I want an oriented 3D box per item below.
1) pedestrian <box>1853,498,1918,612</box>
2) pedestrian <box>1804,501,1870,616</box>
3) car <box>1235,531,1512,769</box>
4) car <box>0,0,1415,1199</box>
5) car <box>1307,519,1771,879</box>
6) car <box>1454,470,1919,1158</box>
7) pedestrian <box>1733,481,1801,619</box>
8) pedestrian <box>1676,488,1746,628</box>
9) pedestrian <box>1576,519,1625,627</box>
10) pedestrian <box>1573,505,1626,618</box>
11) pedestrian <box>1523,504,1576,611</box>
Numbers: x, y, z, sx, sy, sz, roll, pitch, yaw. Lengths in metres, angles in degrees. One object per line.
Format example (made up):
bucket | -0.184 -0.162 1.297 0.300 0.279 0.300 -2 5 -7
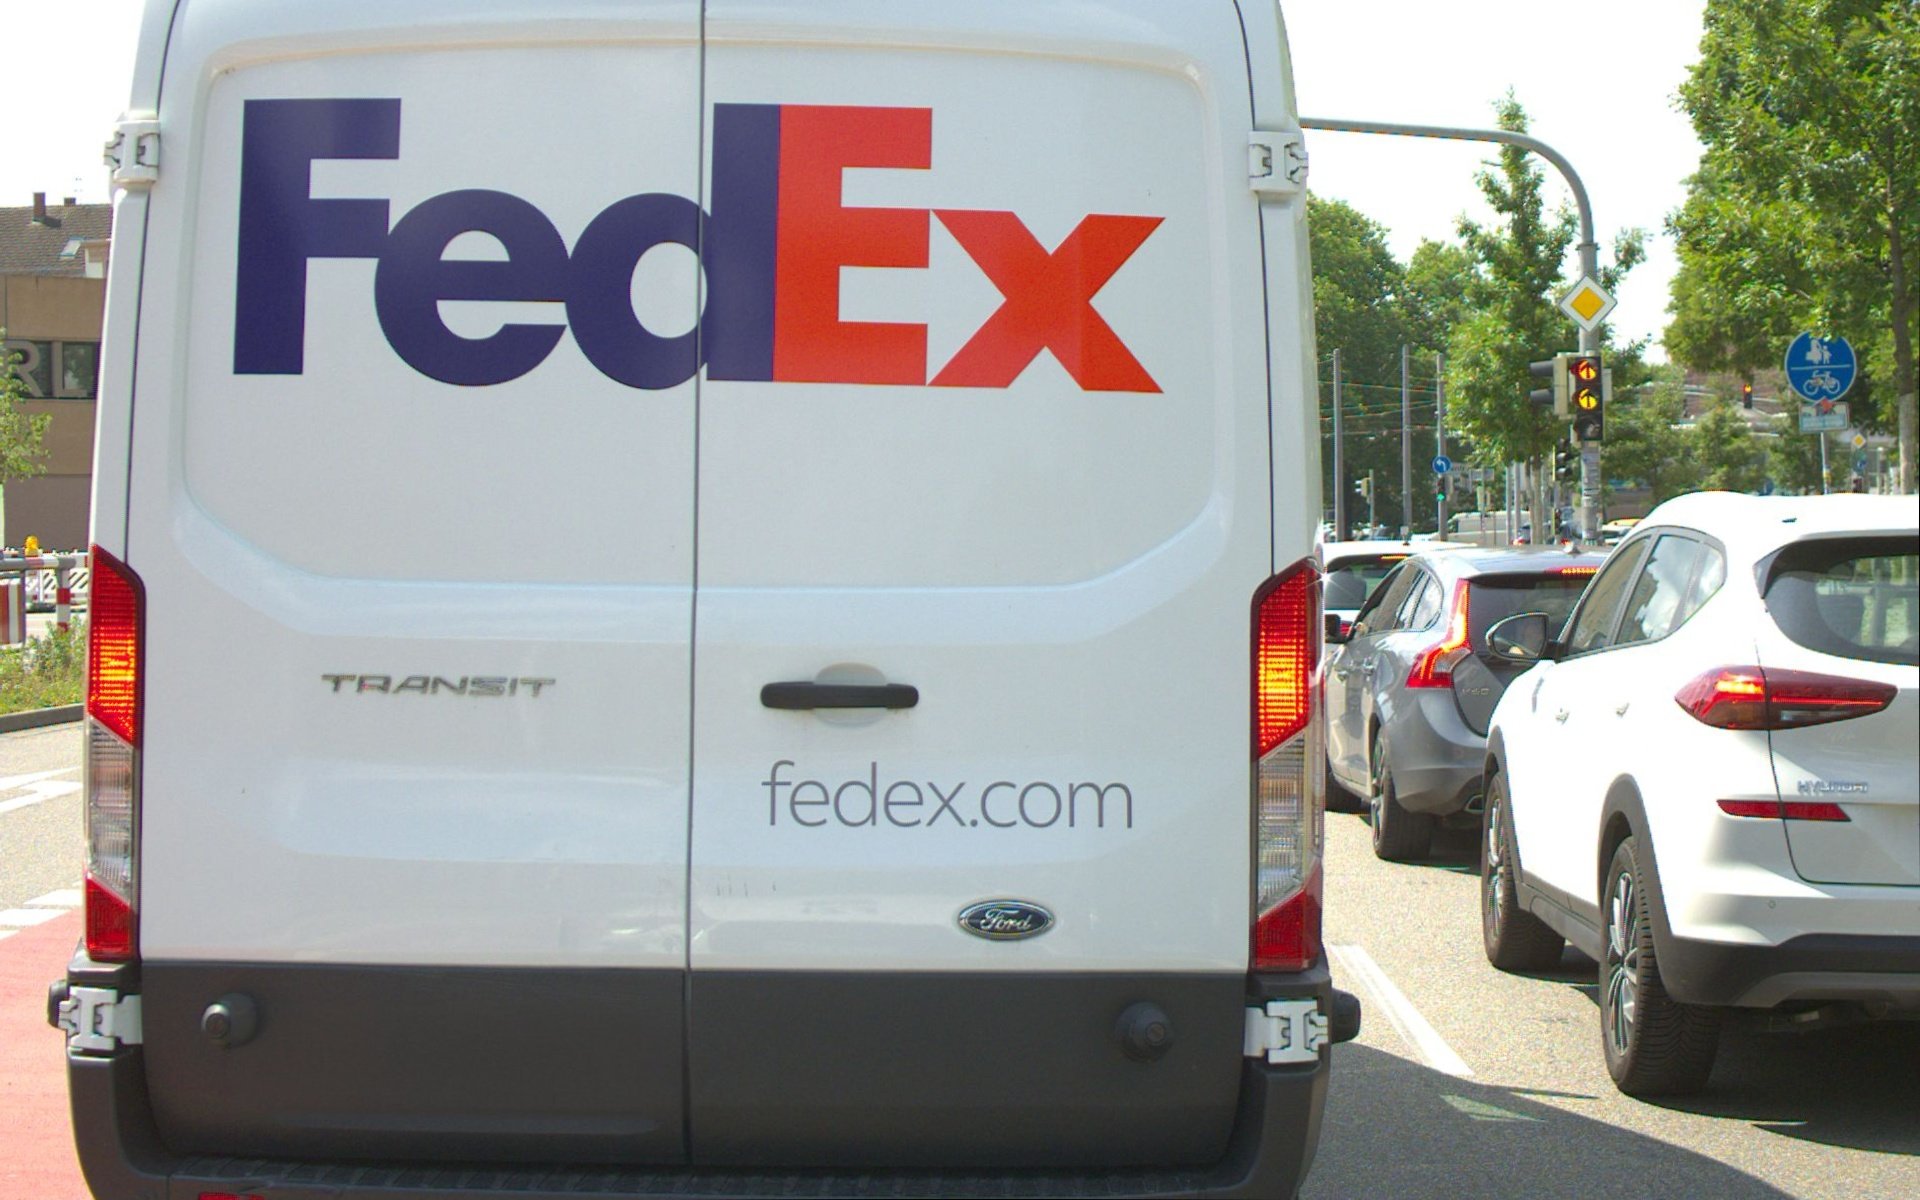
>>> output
pedestrian | 15.146 -0.734 56.267 0.758 1.843 0.816 -1 1 -8
pedestrian | 14.287 -0.680 56.029 0.758 1.843 0.816 -1 1 -10
car | 2.727 0.282 23.268 1.499 1.459 3.474 0 1 1
car | -0.346 0.071 7.198 2.072 2.572 4.428 0 1 1
car | 2.707 0.389 16.818 1.691 1.543 3.720 0 1 1
car | 2.653 0.468 10.342 1.814 1.673 3.974 0 1 1
pedestrian | 10.933 -0.686 46.604 0.759 1.843 0.816 -1 1 3
pedestrian | 10.073 -0.568 46.125 0.759 1.843 0.816 -1 1 1
pedestrian | 11.004 -0.467 59.045 0.759 1.843 0.816 0 1 15
pedestrian | 10.547 -0.646 56.685 0.759 1.843 0.815 0 1 18
pedestrian | 10.272 -0.748 59.940 0.813 1.843 0.761 0 1 3
